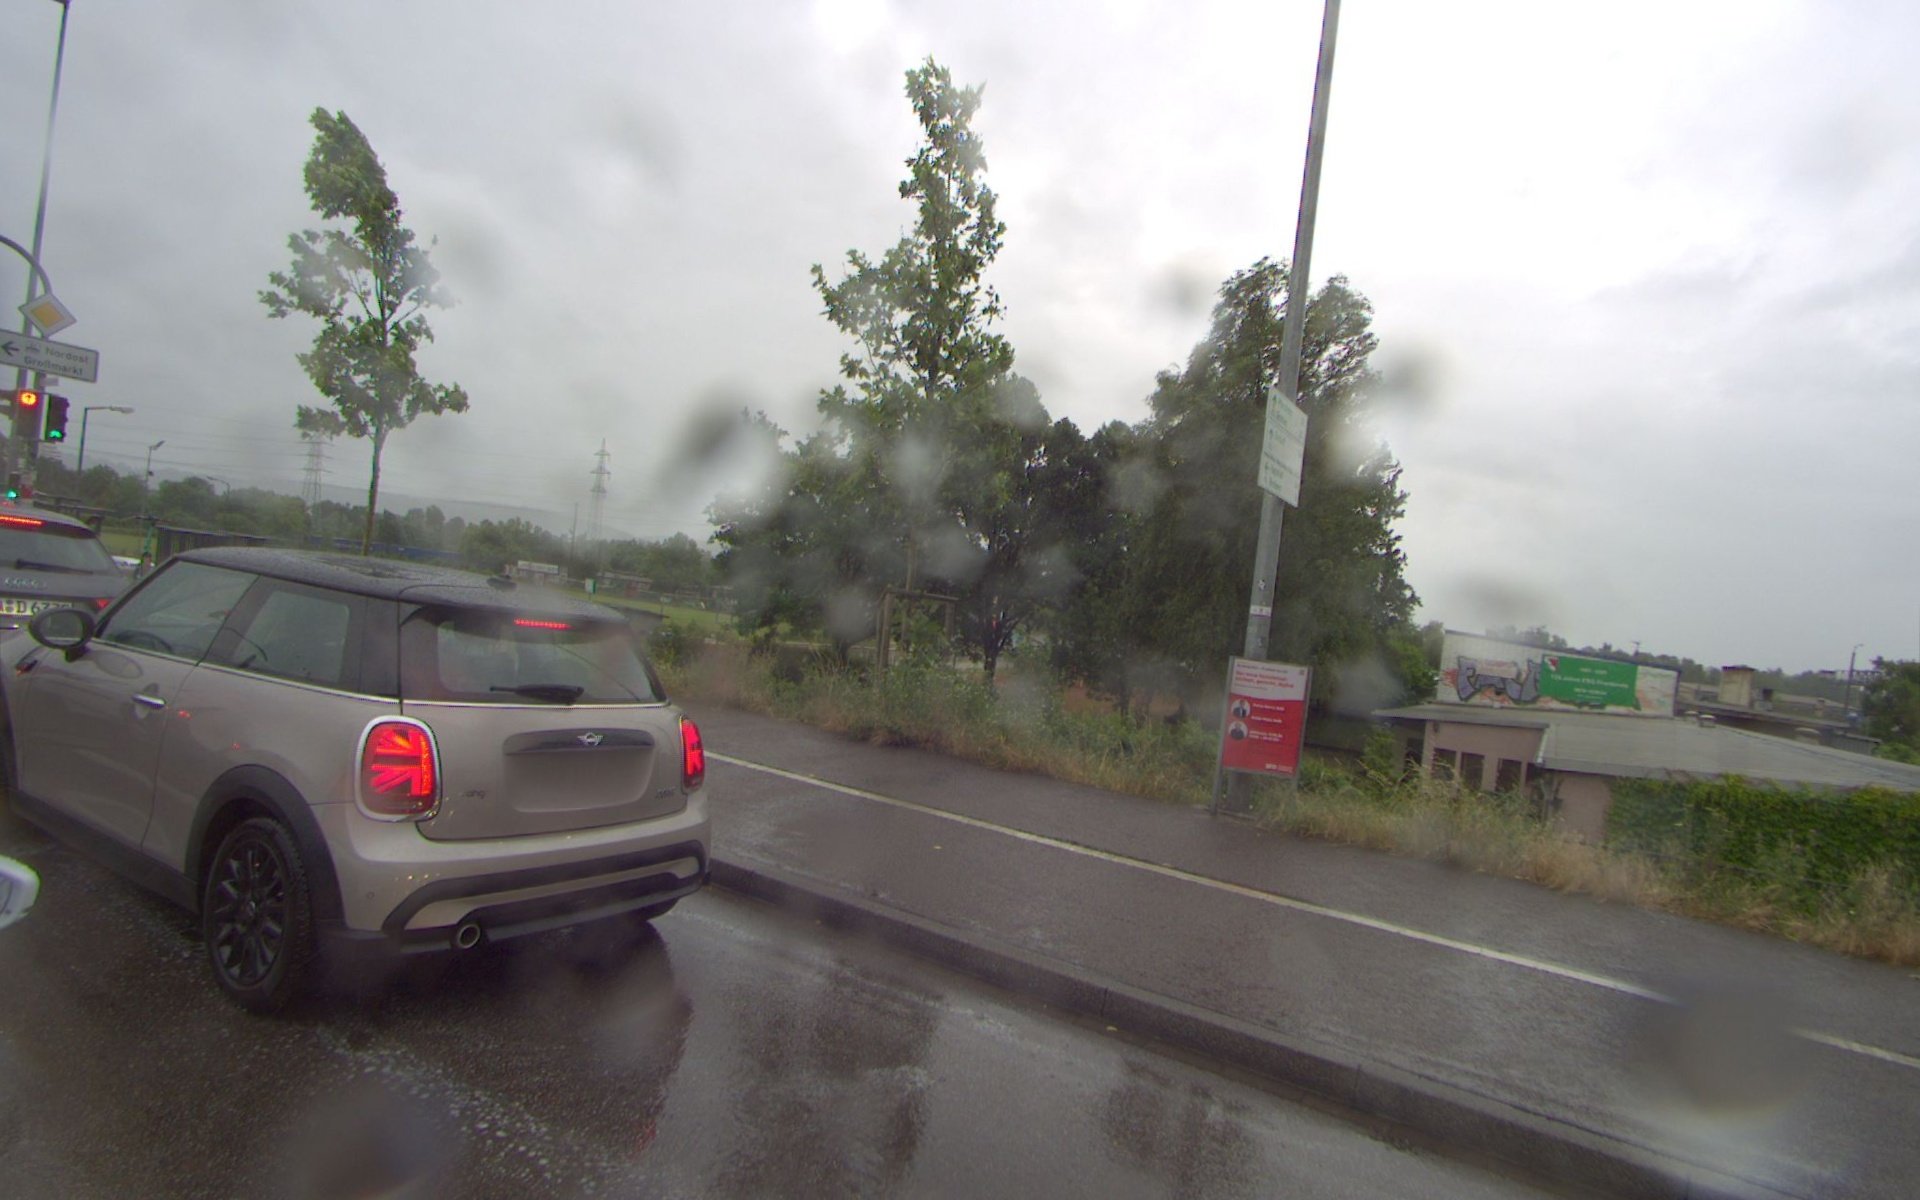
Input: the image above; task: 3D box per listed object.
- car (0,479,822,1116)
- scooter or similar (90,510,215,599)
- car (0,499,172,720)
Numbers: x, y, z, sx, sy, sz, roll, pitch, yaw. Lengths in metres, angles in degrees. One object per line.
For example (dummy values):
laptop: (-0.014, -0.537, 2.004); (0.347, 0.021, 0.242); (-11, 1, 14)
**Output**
car: (-2.704, 0.476, 4.300); (3.815, 1.524, 1.707); (7, -4, 32)
scooter or similar: (-13.883, -0.801, 17.256); (2.971, 1.226, 0.691); (7, 0, 33)
car: (-7.501, -0.072, 7.225); (3.569, 1.383, 1.600); (5, -1, 30)
